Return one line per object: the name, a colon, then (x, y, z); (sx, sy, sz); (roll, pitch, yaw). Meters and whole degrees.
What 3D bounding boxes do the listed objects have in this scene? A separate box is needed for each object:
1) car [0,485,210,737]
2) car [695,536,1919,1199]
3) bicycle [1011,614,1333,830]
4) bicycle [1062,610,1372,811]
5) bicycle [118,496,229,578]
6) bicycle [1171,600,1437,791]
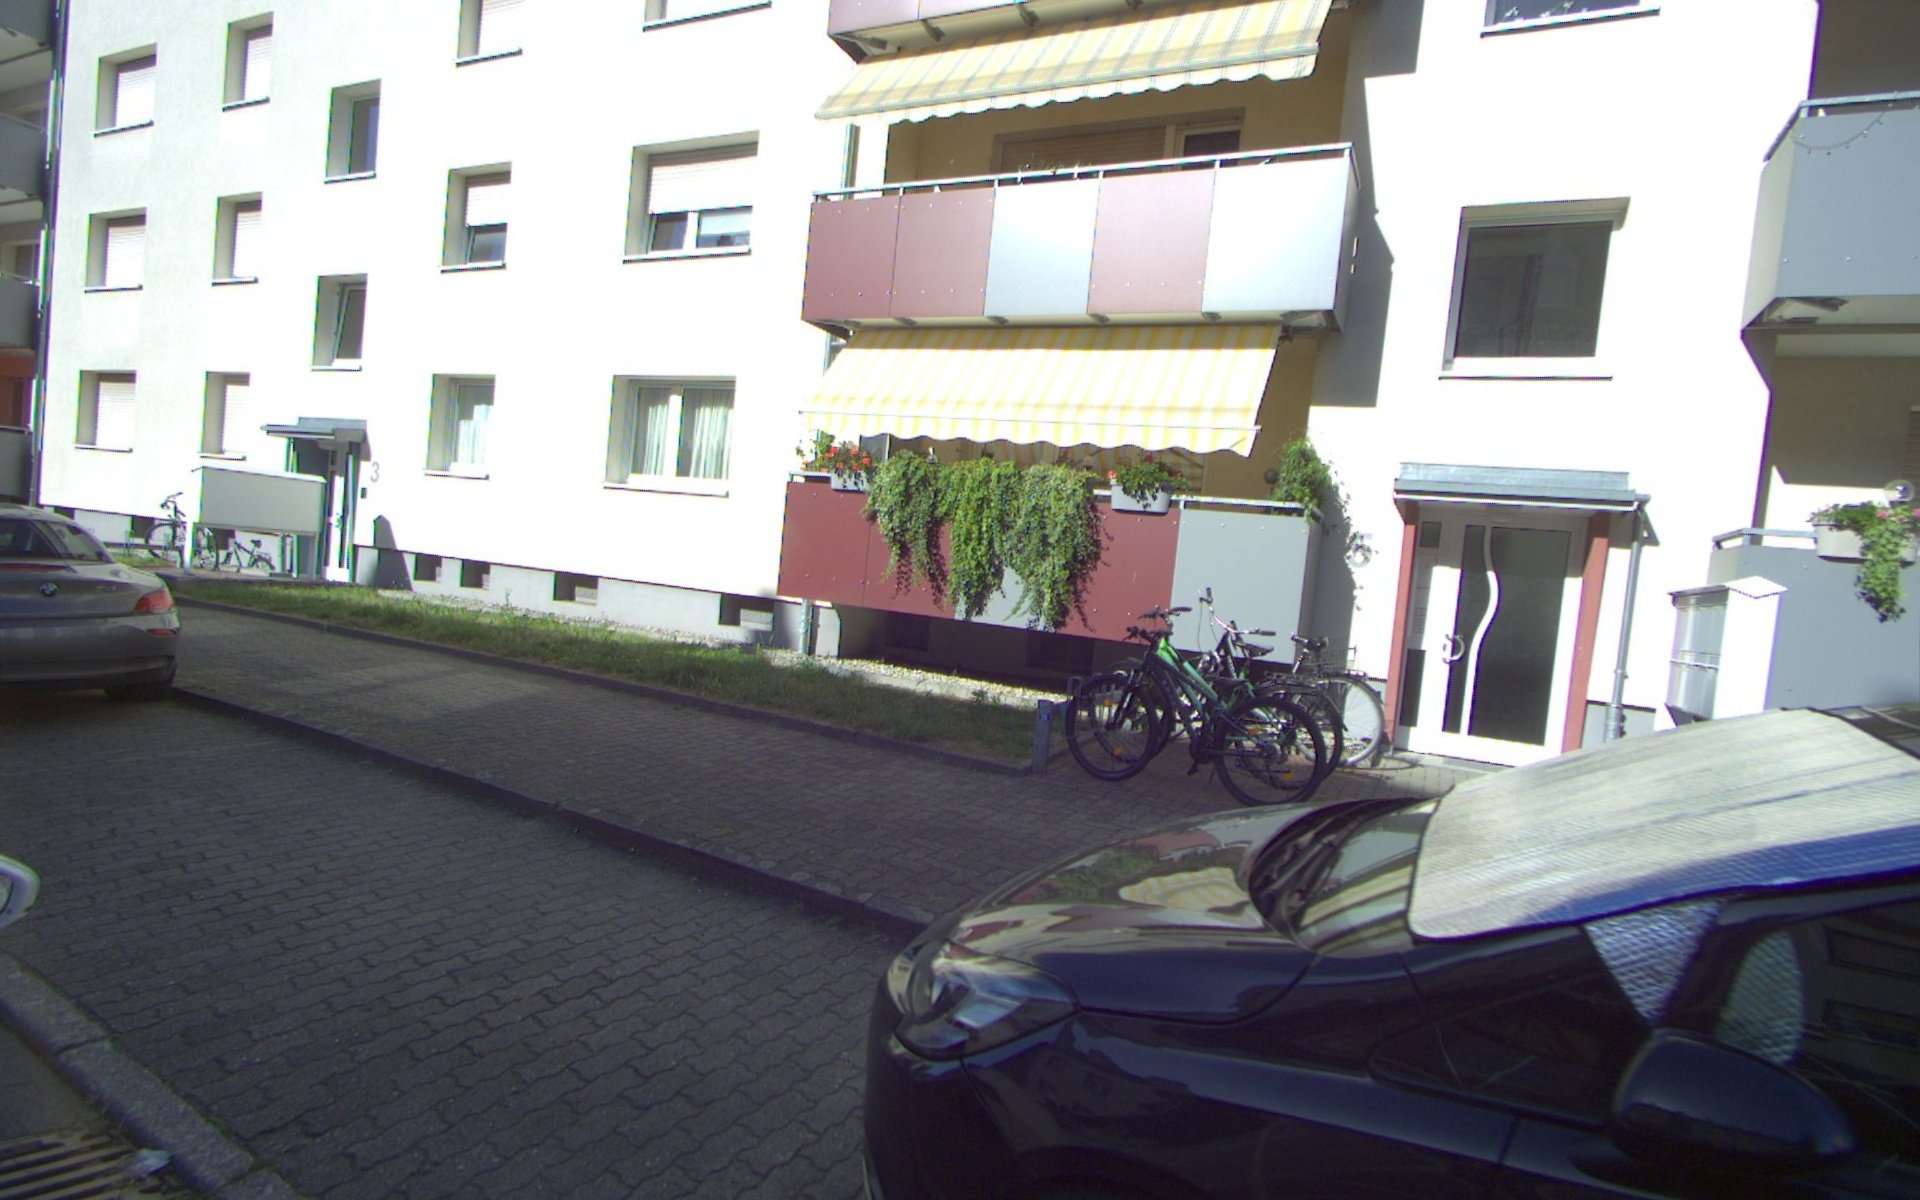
car: (-7.103, -0.116, 6.733); (4.166, 1.382, 1.686); (6, 4, 27)
car: (1.584, 0.809, 1.650); (3.821, 1.530, 1.734); (6, 4, 32)
bicycle: (1.272, 0.688, 6.232); (1.810, 1.034, 0.497); (6, 3, 29)
bicycle: (1.714, 0.685, 6.848); (1.863, 0.992, 0.617); (8, 6, 29)
bicycle: (-12.117, -0.981, 15.495); (1.702, 1.084, 0.649); (7, 7, 25)
bicycle: (2.522, 0.655, 7.468); (1.732, 1.166, 0.407); (6, 4, 28)
